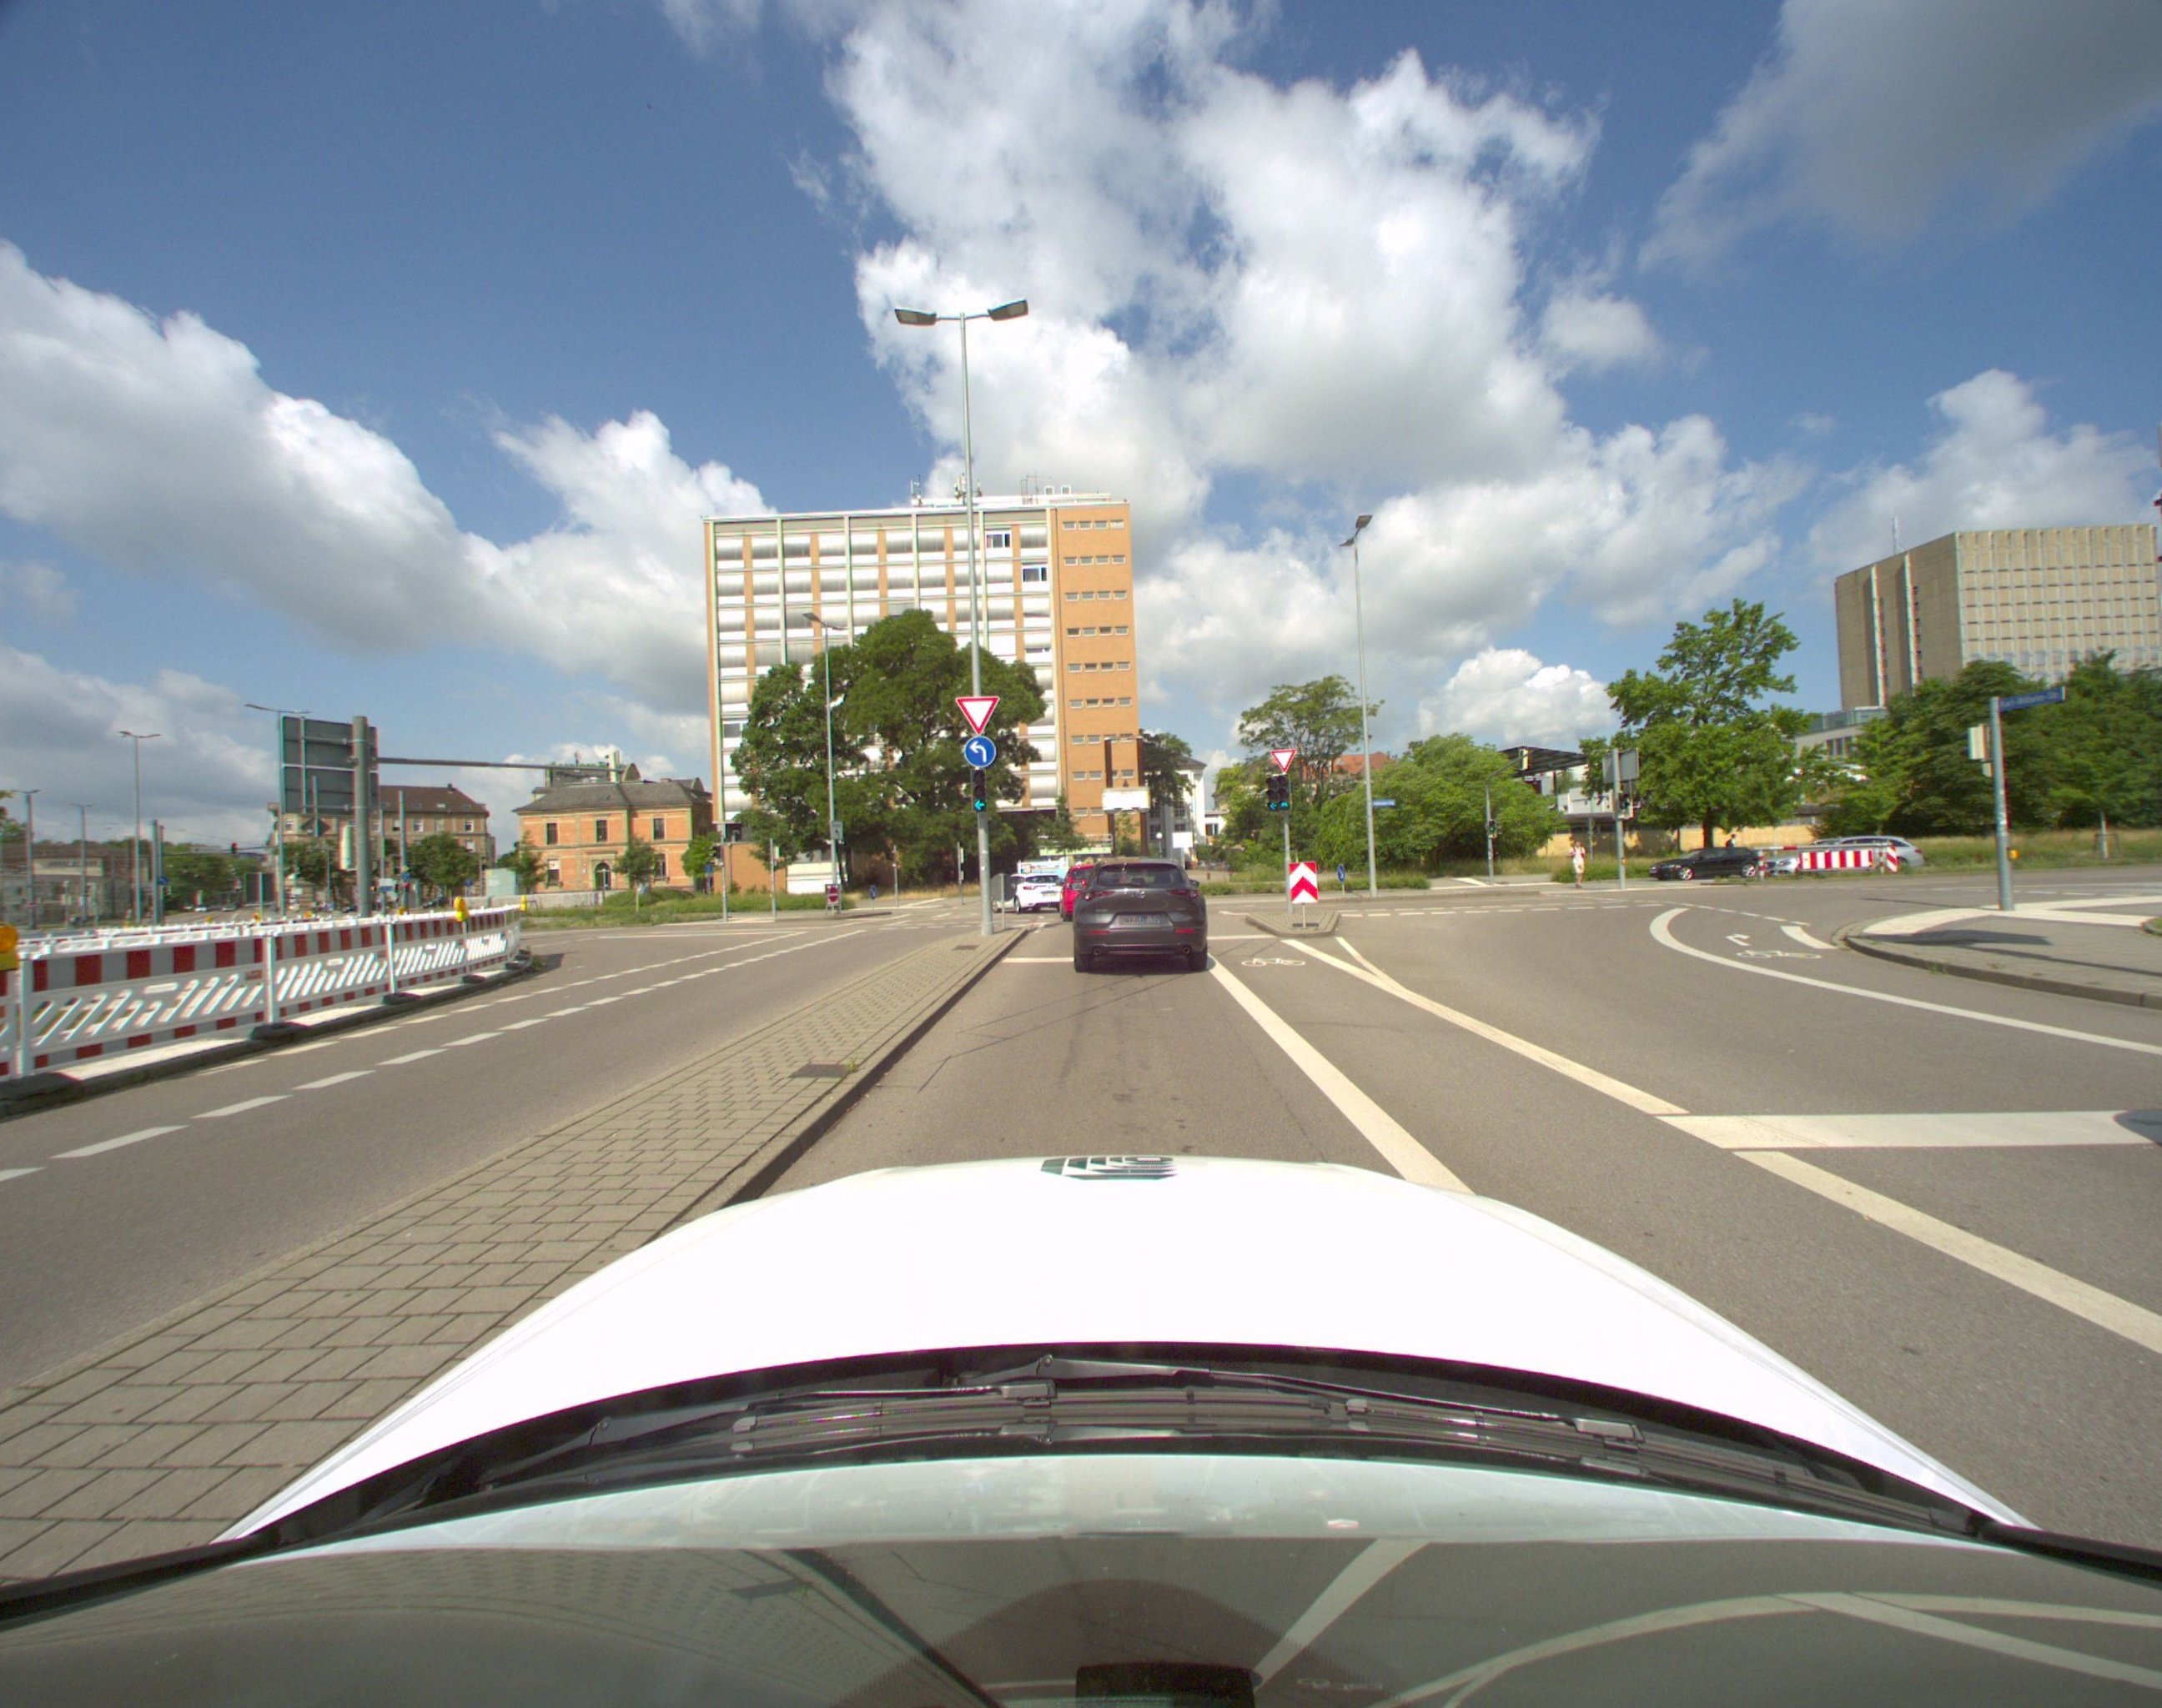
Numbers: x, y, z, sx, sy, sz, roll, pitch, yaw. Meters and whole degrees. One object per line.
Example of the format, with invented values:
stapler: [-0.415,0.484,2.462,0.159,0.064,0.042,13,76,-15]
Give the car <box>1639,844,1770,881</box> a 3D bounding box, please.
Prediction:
car: [27.206,0.358,35.650,4.129,1.377,2.002,-3,0,3]

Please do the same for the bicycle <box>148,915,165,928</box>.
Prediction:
bicycle: [-77.908,5.697,68.622,0.621,1.002,1.995,-1,-2,-39]

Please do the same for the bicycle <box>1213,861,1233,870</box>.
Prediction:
bicycle: [15.628,1.293,89.689,2.048,0.936,0.804,-3,-1,0]

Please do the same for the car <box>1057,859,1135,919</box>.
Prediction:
car: [0.308,0.944,21.937,1.812,1.440,4.062,-1,-3,-3]

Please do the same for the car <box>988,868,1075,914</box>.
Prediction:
car: [-1.889,1.316,29.766,1.856,1.472,4.302,-3,-1,-22]

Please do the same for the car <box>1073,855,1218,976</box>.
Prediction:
car: [0.844,0.781,12.233,1.799,1.508,4.205,0,0,1]

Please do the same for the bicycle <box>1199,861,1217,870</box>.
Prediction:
bicycle: [15.248,1.378,97.898,2.048,0.936,0.804,-3,-1,0]

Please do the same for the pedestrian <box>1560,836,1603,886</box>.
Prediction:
pedestrian: [19.302,0.297,31.431,0.696,1.857,1.177,-3,-2,-9]

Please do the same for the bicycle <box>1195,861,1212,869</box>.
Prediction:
bicycle: [15.462,1.422,102.756,2.048,0.936,0.804,-3,-1,0]

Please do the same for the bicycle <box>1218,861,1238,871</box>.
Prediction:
bicycle: [15.925,1.277,88.358,2.048,0.936,0.804,-3,-1,0]

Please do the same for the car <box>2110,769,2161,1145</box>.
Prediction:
car: [5.906,0.462,1.659,1.841,1.785,4.676,-1,0,3]

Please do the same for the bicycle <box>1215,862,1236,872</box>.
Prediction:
bicycle: [15.240,1.352,85.701,2.048,0.936,0.804,-3,-1,0]

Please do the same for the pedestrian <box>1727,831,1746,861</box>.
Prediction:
pedestrian: [34.452,-0.418,42.794,0.521,1.608,0.541,0,-1,-2]

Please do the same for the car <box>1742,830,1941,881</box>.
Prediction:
car: [26.511,0.088,28.556,4.740,1.442,2.065,-3,-3,6]

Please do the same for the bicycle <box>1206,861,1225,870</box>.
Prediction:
bicycle: [15.561,1.336,94.154,2.048,0.936,0.804,-3,-1,0]

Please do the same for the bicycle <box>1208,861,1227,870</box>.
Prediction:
bicycle: [15.612,1.328,93.160,2.048,0.936,0.804,-3,-1,0]

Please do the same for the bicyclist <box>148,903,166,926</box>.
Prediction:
bicyclist: [-78.018,5.113,68.784,0.817,1.823,1.146,-1,-2,-38]
